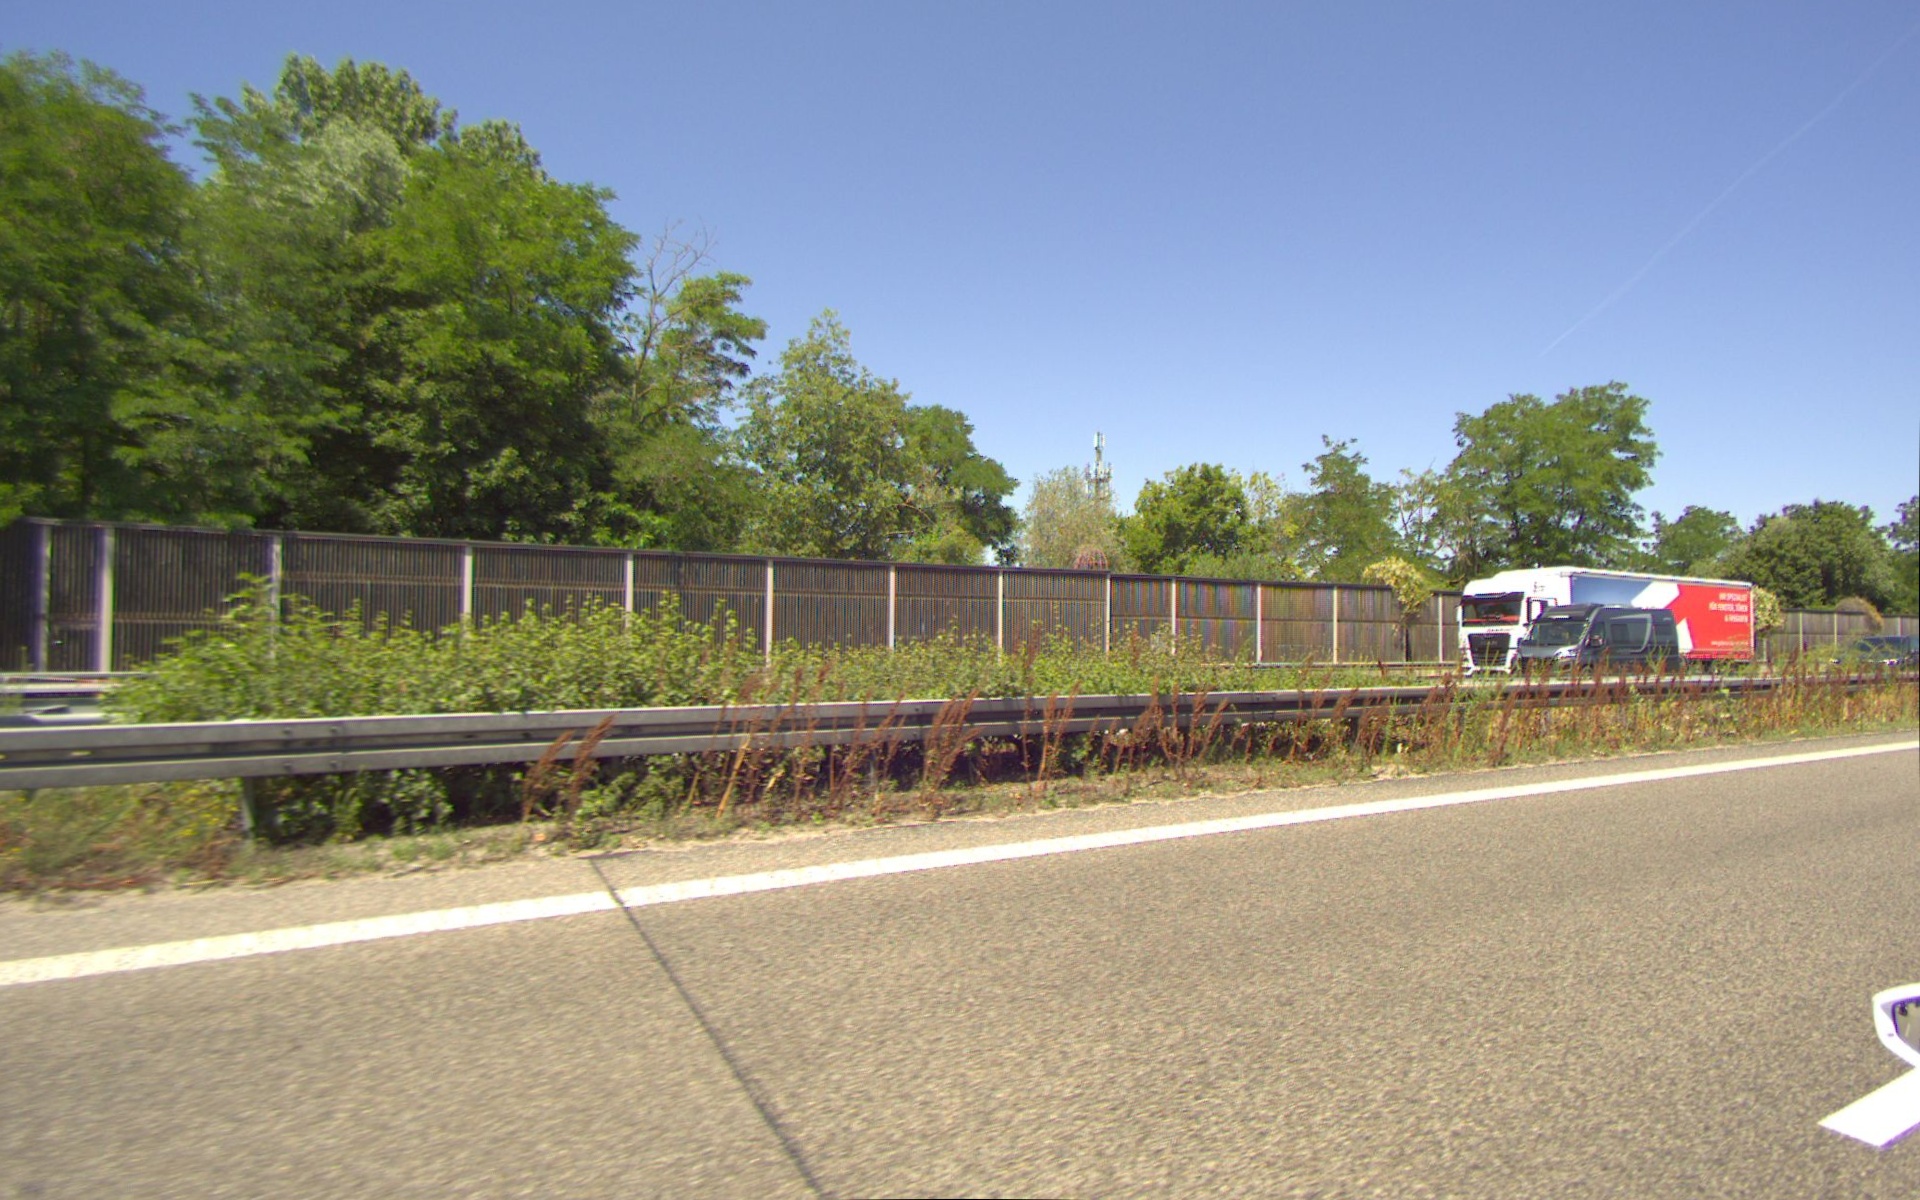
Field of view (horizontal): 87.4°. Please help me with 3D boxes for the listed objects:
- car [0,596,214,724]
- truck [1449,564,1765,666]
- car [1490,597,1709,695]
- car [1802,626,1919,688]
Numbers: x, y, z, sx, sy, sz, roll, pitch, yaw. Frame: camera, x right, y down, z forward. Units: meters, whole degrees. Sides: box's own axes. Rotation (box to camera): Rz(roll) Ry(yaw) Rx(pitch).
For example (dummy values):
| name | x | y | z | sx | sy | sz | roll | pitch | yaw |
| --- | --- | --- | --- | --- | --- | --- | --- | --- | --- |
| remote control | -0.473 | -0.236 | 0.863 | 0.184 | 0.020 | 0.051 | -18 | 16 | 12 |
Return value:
| name | x | y | z | sx | sy | sz | roll | pitch | yaw |
| --- | --- | --- | --- | --- | --- | --- | --- | --- | --- |
| car | -14.221 | 0.828 | 14.656 | 5.077 | 1.784 | 2.081 | 2 | -1 | -30 |
| truck | 25.299 | 0.621 | 38.554 | 16.801 | 3.386 | 2.824 | 1 | 0 | -30 |
| car | 19.652 | 1.370 | 30.734 | 7.494 | 2.598 | 2.304 | 2 | 3 | -30 |
| car | 28.281 | 1.738 | 31.148 | 5.021 | 1.773 | 1.769 | 2 | -1 | -30 |
